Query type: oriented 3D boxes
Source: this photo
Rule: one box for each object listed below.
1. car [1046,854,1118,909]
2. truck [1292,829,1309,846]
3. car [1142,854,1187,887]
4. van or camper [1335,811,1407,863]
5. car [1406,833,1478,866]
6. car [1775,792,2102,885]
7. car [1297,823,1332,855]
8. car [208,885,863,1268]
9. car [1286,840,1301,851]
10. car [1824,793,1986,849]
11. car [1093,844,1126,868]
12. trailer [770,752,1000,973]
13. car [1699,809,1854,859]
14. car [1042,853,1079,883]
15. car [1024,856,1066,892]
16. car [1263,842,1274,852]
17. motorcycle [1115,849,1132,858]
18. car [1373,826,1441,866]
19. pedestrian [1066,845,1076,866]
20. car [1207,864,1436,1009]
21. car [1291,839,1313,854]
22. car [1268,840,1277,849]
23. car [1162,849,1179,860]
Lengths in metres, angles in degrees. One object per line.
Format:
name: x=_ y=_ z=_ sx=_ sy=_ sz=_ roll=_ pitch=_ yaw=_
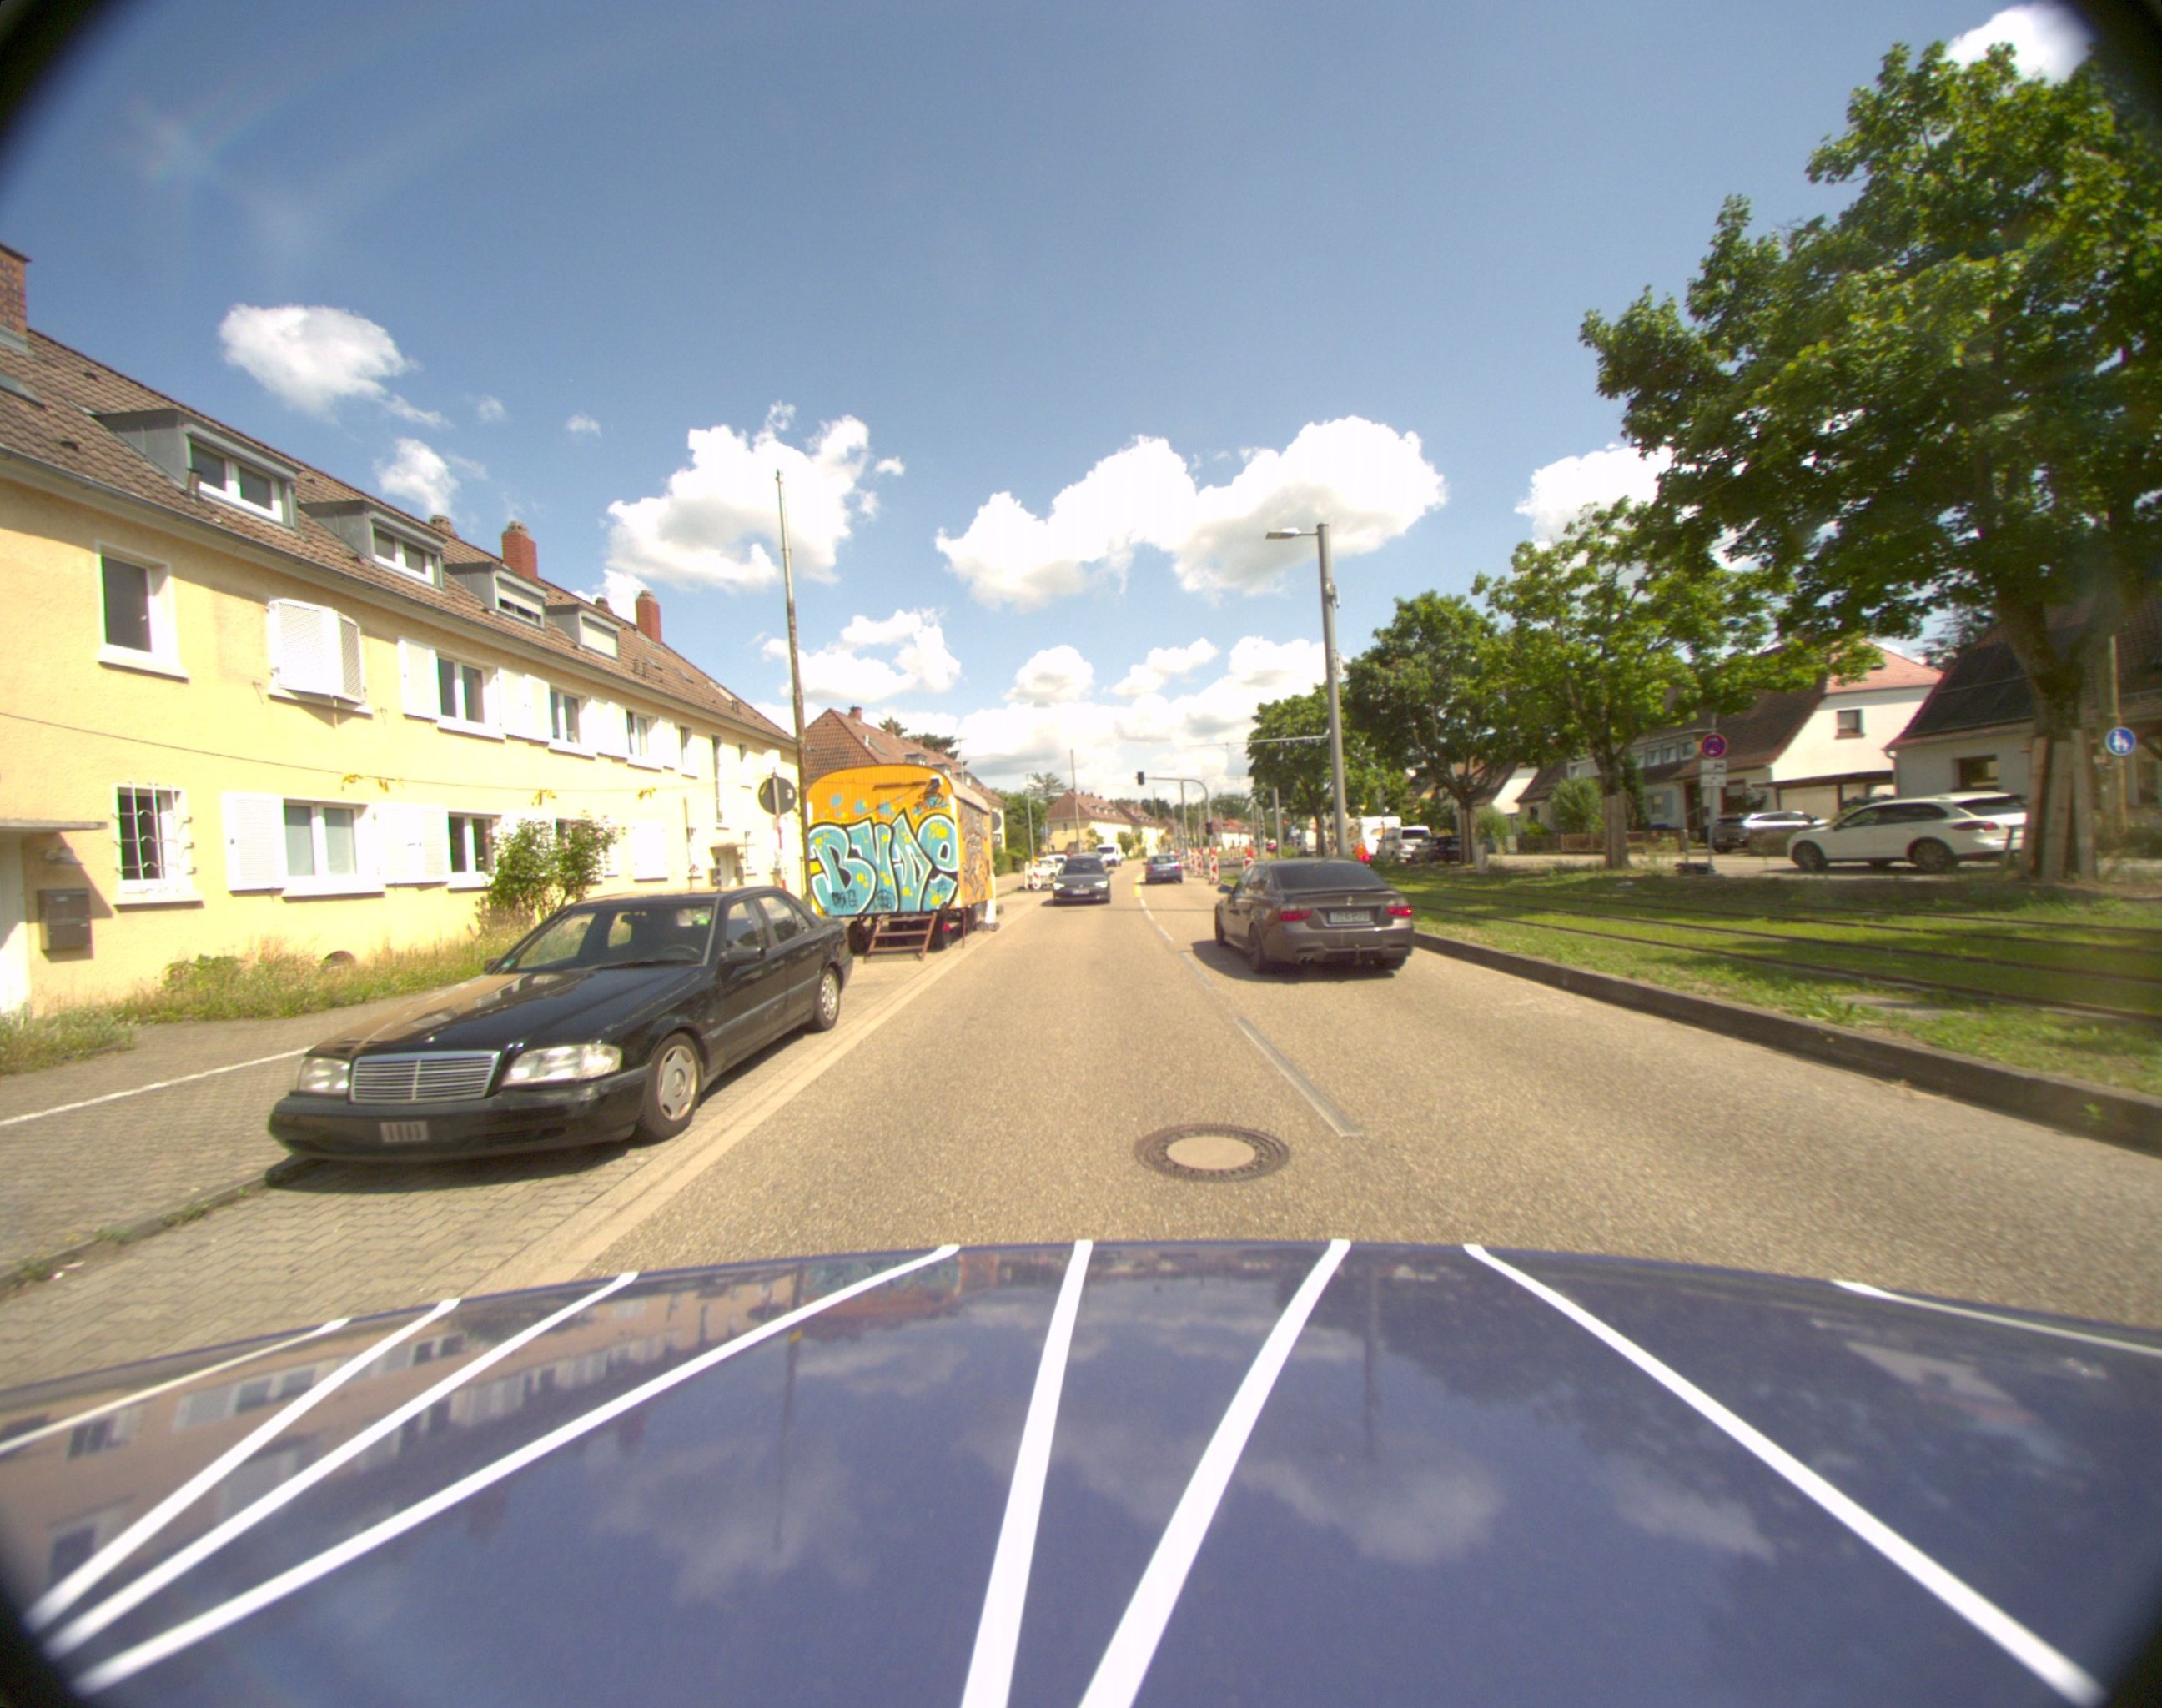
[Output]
car: x=0.138 y=0.827 z=24.916 sx=1.741 sy=1.513 sz=4.703 roll=-2 pitch=1 yaw=7
truck: x=44.191 y=-3.369 z=152.684 sx=2.839 sy=3.136 sz=7.942 roll=-3 pitch=0 yaw=17
car: x=3.882 y=0.758 z=35.969 sx=1.669 sy=1.441 sz=3.959 roll=-1 pitch=0 yaw=0
van or camper: x=18.634 y=-1.055 z=49.332 sx=2.381 sy=2.953 sz=7.298 roll=-3 pitch=0 yaw=6
car: x=17.302 y=-0.224 z=36.692 sx=1.855 sy=1.379 sz=4.811 roll=-4 pitch=0 yaw=10
car: x=19.550 y=-0.325 z=17.805 sx=1.886 sy=1.758 sz=5.082 roll=-3 pitch=0 yaw=0
car: x=21.222 y=-1.349 z=69.294 sx=2.157 sy=2.653 sz=4.918 roll=-3 pitch=1 yaw=9
car: x=-3.084 y=1.090 z=5.641 sx=1.581 sy=1.441 sz=4.453 roll=-4 pitch=0 yaw=0
car: x=33.224 y=-1.332 z=118.754 sx=1.727 sy=1.518 sz=4.776 roll=-3 pitch=0 yaw=20
car: x=30.687 y=-1.199 z=28.390 sx=3.997 sy=1.727 sz=1.799 roll=-4 pitch=0 yaw=0
car: x=2.864 y=0.143 z=74.494 sx=2.280 sy=2.170 sz=6.372 roll=-3 pitch=0 yaw=11
trailer: x=-3.246 y=0.124 z=14.104 sx=2.697 sy=3.208 sz=5.081 roll=-4 pitch=0 yaw=1
car: x=25.884 y=-0.739 z=28.371 sx=3.997 sy=1.521 sz=1.873 roll=-4 pitch=0 yaw=0
car: x=-1.117 y=0.763 z=42.517 sx=1.531 sy=1.472 sz=3.811 roll=-3 pitch=1 yaw=6
car: x=-1.659 y=0.914 z=36.185 sx=1.466 sy=1.493 sz=4.110 roll=-3 pitch=1 yaw=4
car: x=32.295 y=-1.241 z=130.748 sx=1.728 sy=1.553 sz=4.546 roll=-3 pitch=0 yaw=15
motorcycle: x=6.302 y=-0.026 z=112.406 sx=2.231 sy=1.190 sz=0.855 roll=-3 pitch=1 yaw=16
car: x=18.150 y=-0.429 z=42.560 sx=1.998 sy=2.002 sz=4.905 roll=-4 pitch=0 yaw=6
pedestrian: x=-0.984 y=0.166 z=76.086 sx=0.774 sy=2.002 sz=0.762 roll=-3 pitch=1 yaw=8
car: x=2.927 y=0.915 z=10.209 sx=1.729 sy=1.381 sz=4.121 roll=-3 pitch=0 yaw=0
car: x=23.275 y=-0.828 z=80.030 sx=1.695 sy=1.456 sz=4.758 roll=-3 pitch=0 yaw=11
car: x=38.976 y=-1.918 z=154.401 sx=1.728 sy=1.843 sz=4.546 roll=-3 pitch=0 yaw=14
car: x=13.391 y=0.057 z=113.446 sx=1.877 sy=1.544 sz=4.989 roll=-3 pitch=0 yaw=13
